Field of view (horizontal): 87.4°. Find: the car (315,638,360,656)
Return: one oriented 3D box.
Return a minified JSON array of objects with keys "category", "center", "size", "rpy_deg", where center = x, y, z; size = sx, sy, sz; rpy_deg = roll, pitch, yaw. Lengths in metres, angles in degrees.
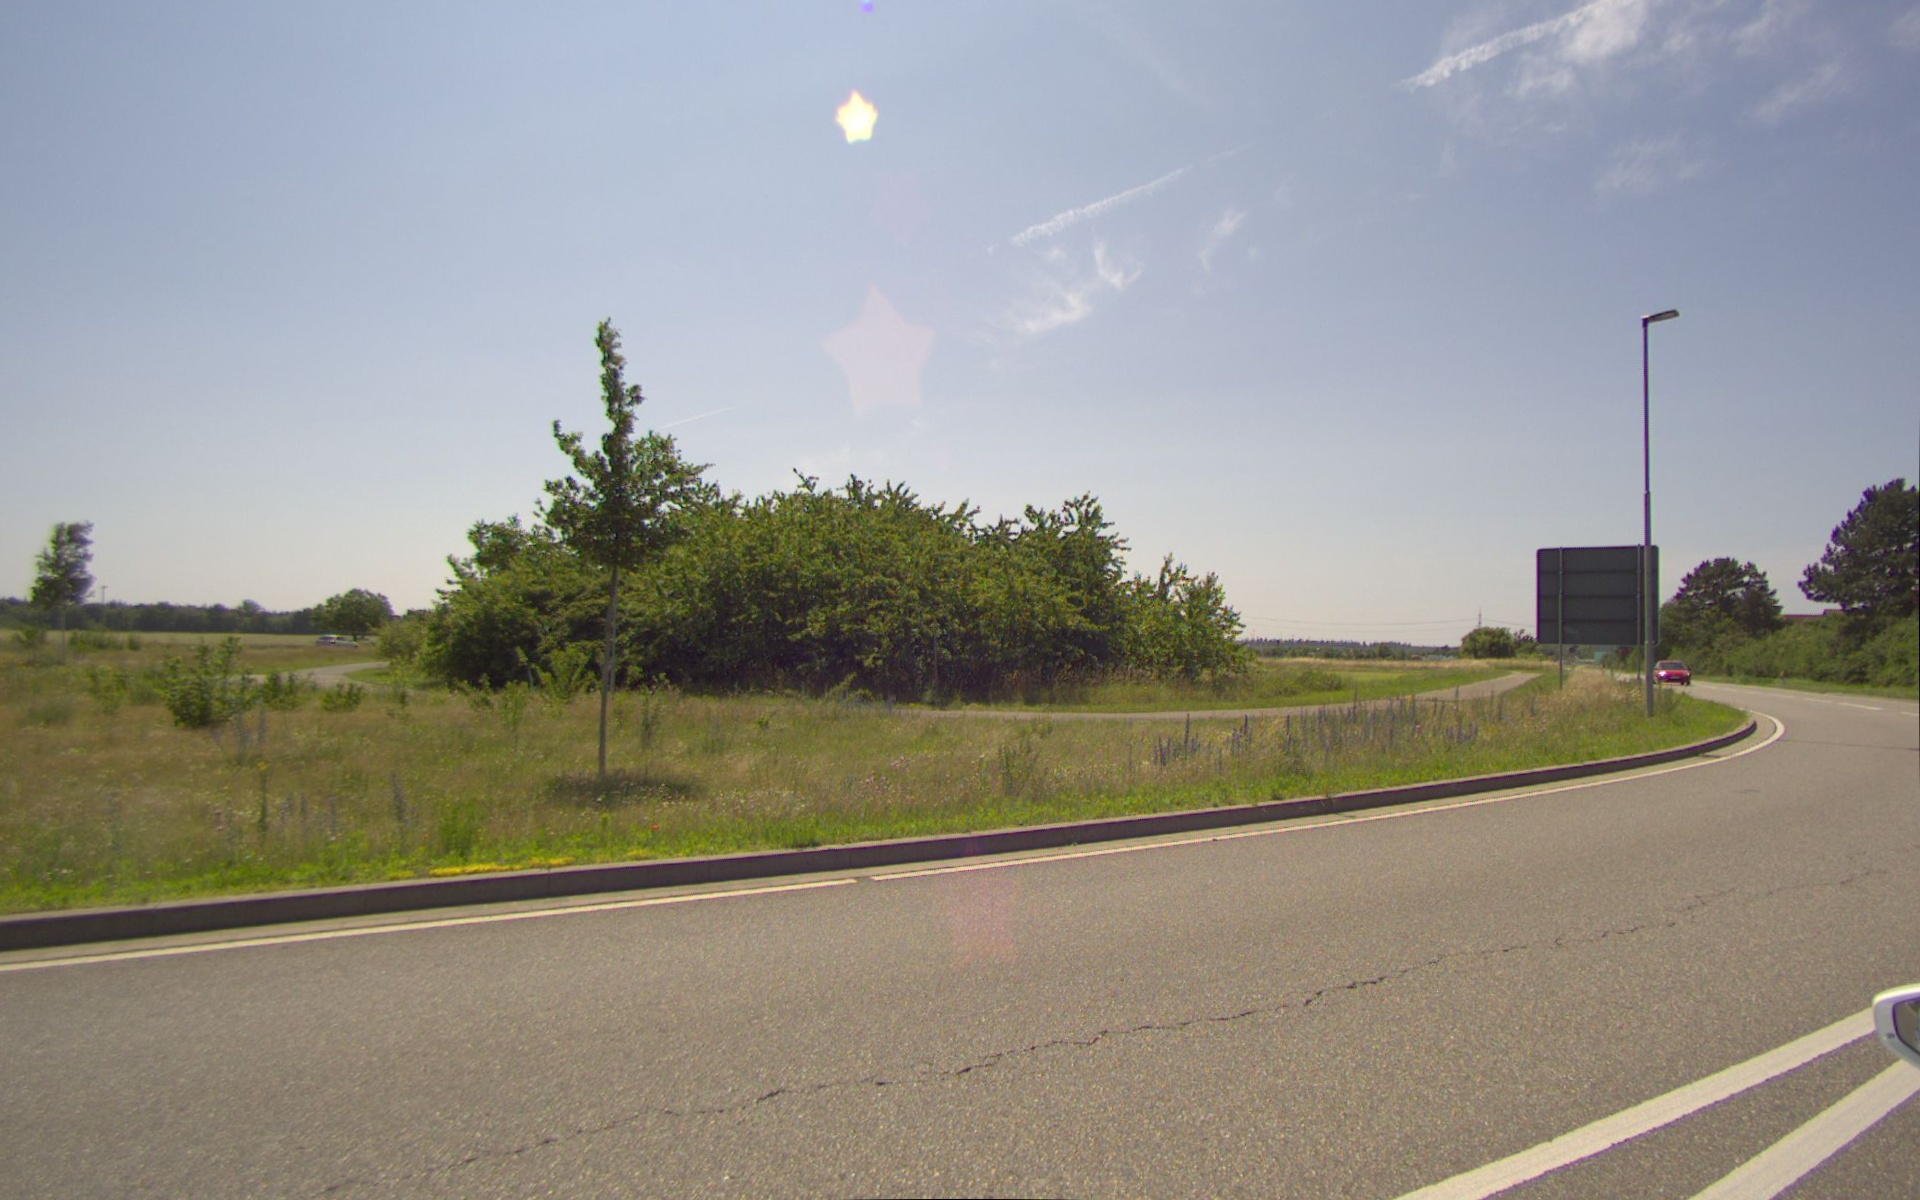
[{"category":"car","center":[-52.441,3.942,84.655],"size":[1.696,1.483,3.600],"rpy_deg":[1,-3,-5]}]

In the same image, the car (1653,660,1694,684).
[{"category":"car","center":[43.585,4.374,61.408],"size":[1.631,1.452,3.730],"rpy_deg":[-2,-4,30]}]
